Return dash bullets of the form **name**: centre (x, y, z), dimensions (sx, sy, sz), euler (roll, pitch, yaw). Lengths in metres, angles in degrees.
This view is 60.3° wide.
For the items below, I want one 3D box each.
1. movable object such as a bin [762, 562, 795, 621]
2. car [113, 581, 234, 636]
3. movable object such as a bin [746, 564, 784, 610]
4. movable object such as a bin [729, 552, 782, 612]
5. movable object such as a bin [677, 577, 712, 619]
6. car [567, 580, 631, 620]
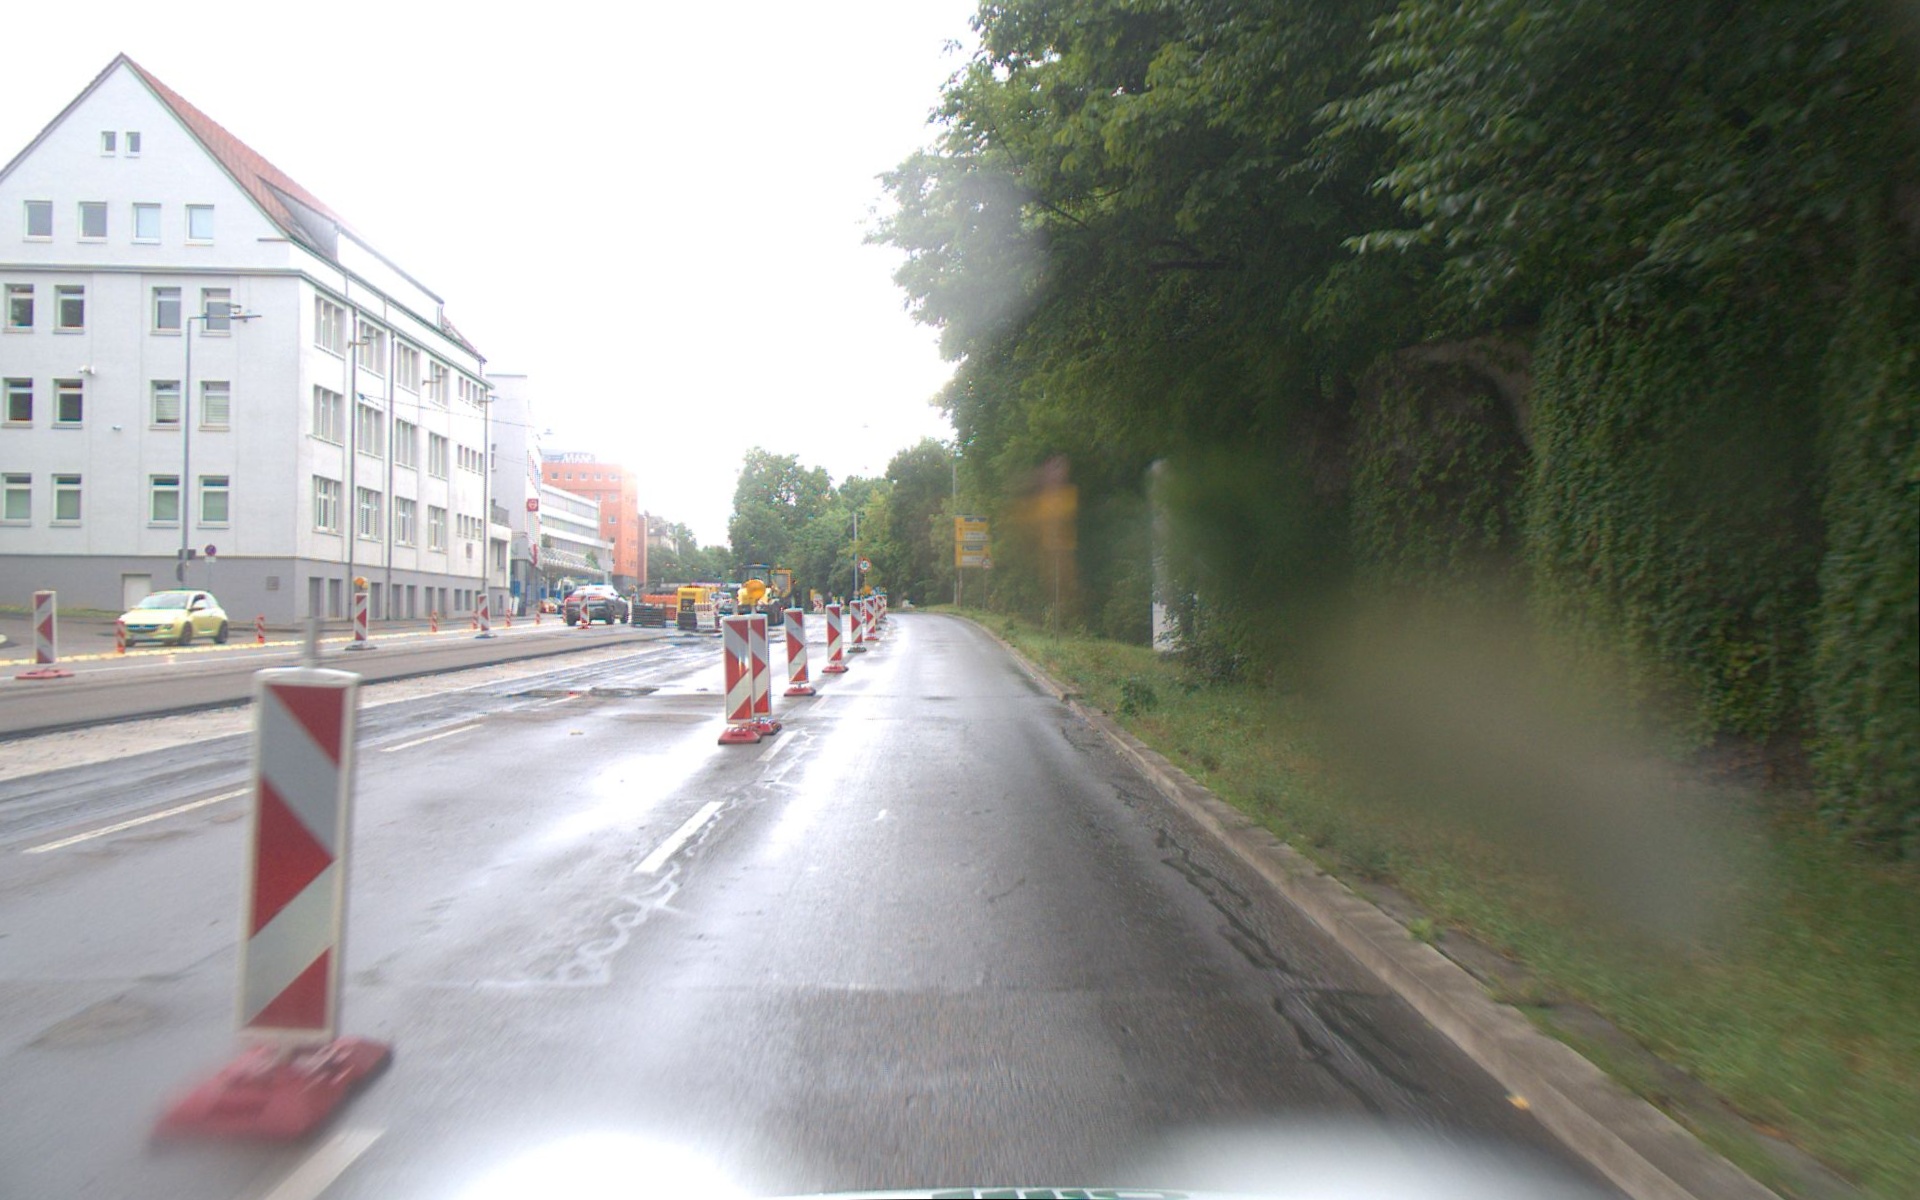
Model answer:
- **movable object such as a bin**: centre (-9.855, -0.467, 89.967), dimensions (1.436, 3.061, 3.722), euler (-2, 0, -3)
- **car**: centre (-21.198, 0.222, 44.728), dimensions (1.522, 1.392, 3.804), euler (-1, 0, -1)
- **movable object such as a bin**: centre (-9.491, -0.636, 80.619), dimensions (1.335, 2.126, 5.029), euler (0, 0, -1)
- **movable object such as a bin**: centre (-9.254, -0.816, 75.220), dimensions (1.863, 2.654, 5.382), euler (0, 0, -1)
- **movable object such as a bin**: centre (-10.682, -0.089, 66.593), dimensions (1.061, 1.673, 2.438), euler (0, 0, -2)
- **car**: centre (-15.835, -0.013, 72.687), dimensions (1.854, 1.679, 4.395), euler (1, 0, 0)
